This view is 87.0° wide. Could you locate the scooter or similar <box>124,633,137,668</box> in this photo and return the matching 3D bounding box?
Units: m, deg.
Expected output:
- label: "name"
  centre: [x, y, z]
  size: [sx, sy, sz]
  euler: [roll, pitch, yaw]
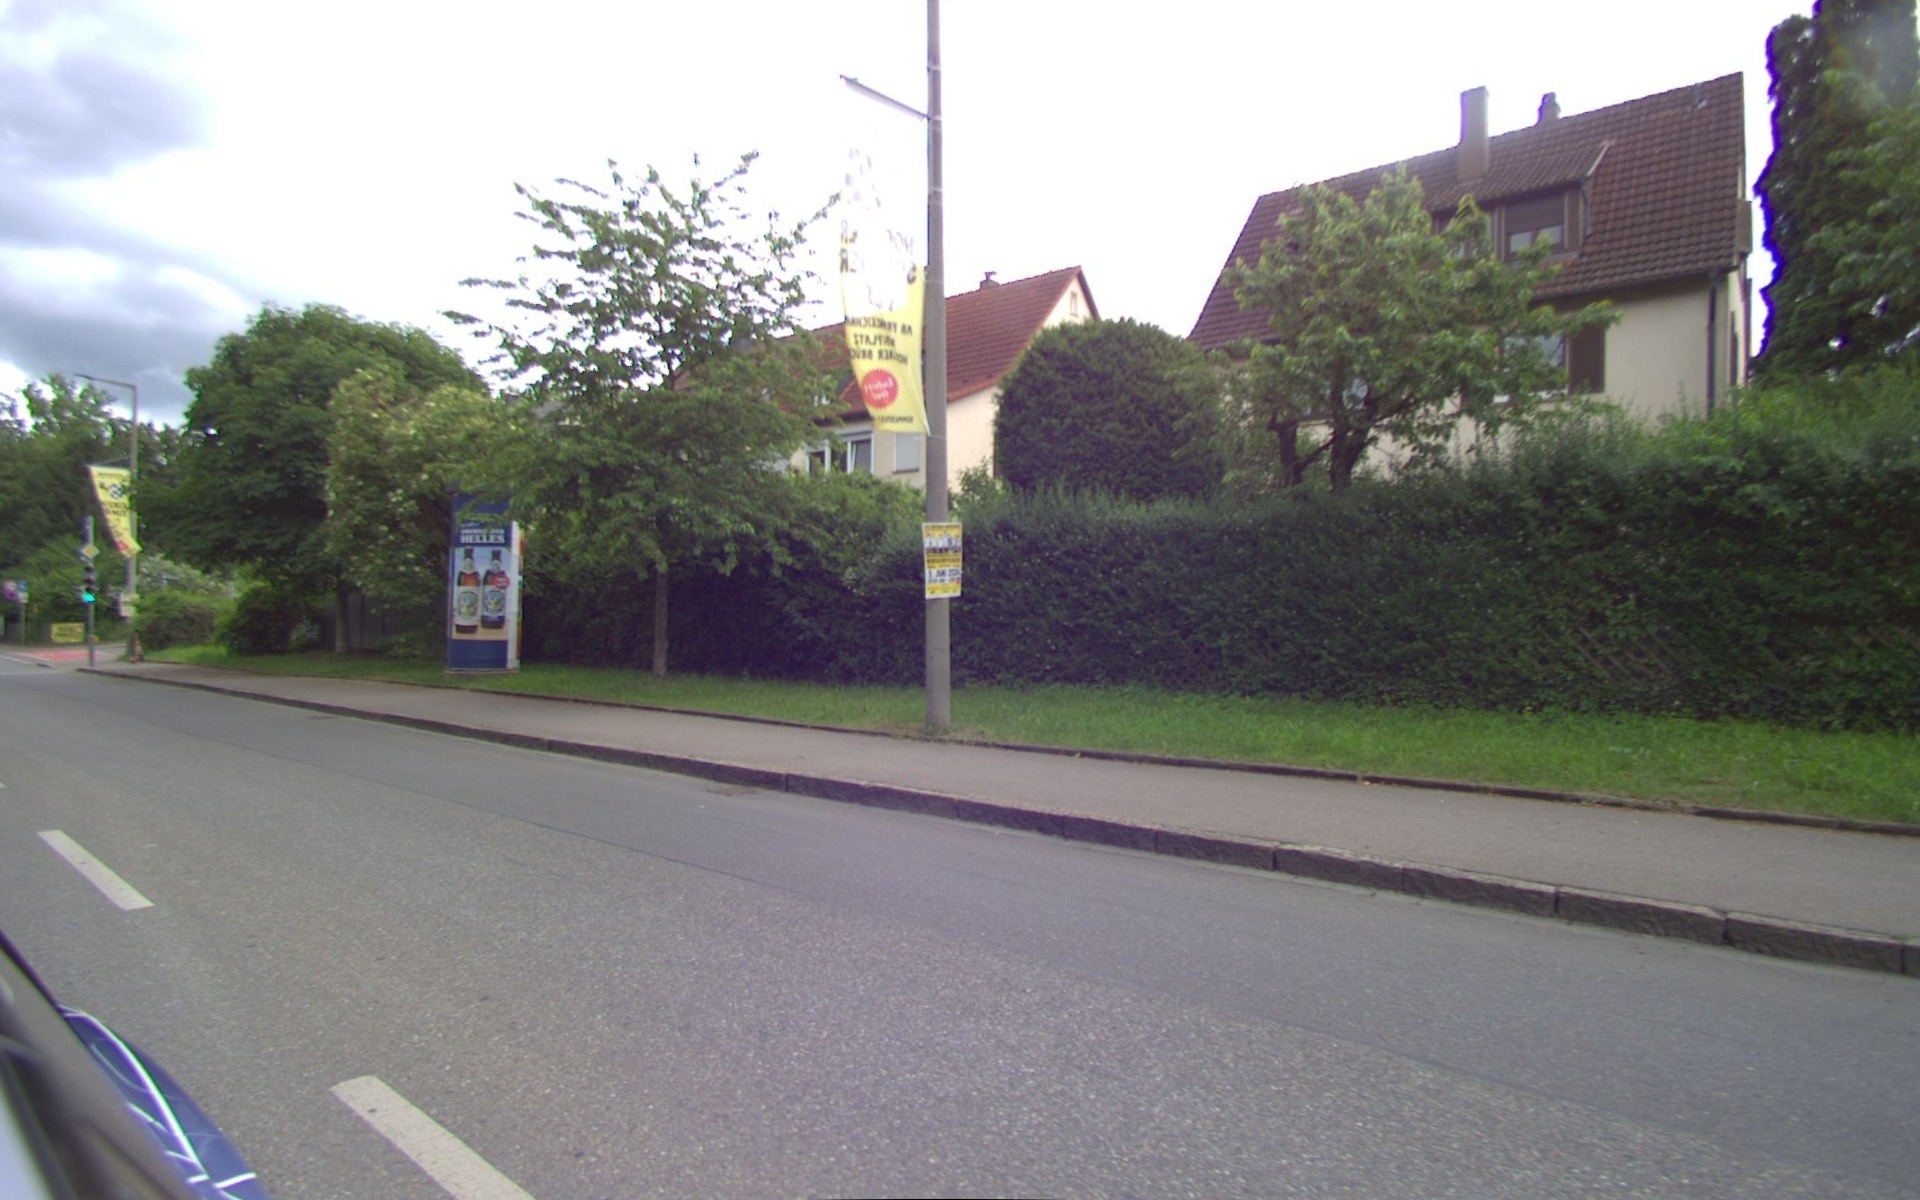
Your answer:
- label: "scooter or similar"
  centre: [-29.881, 1.818, 36.461]
  size: [0.250, 1.225, 1.280]
  euler: [1, -2, -45]
